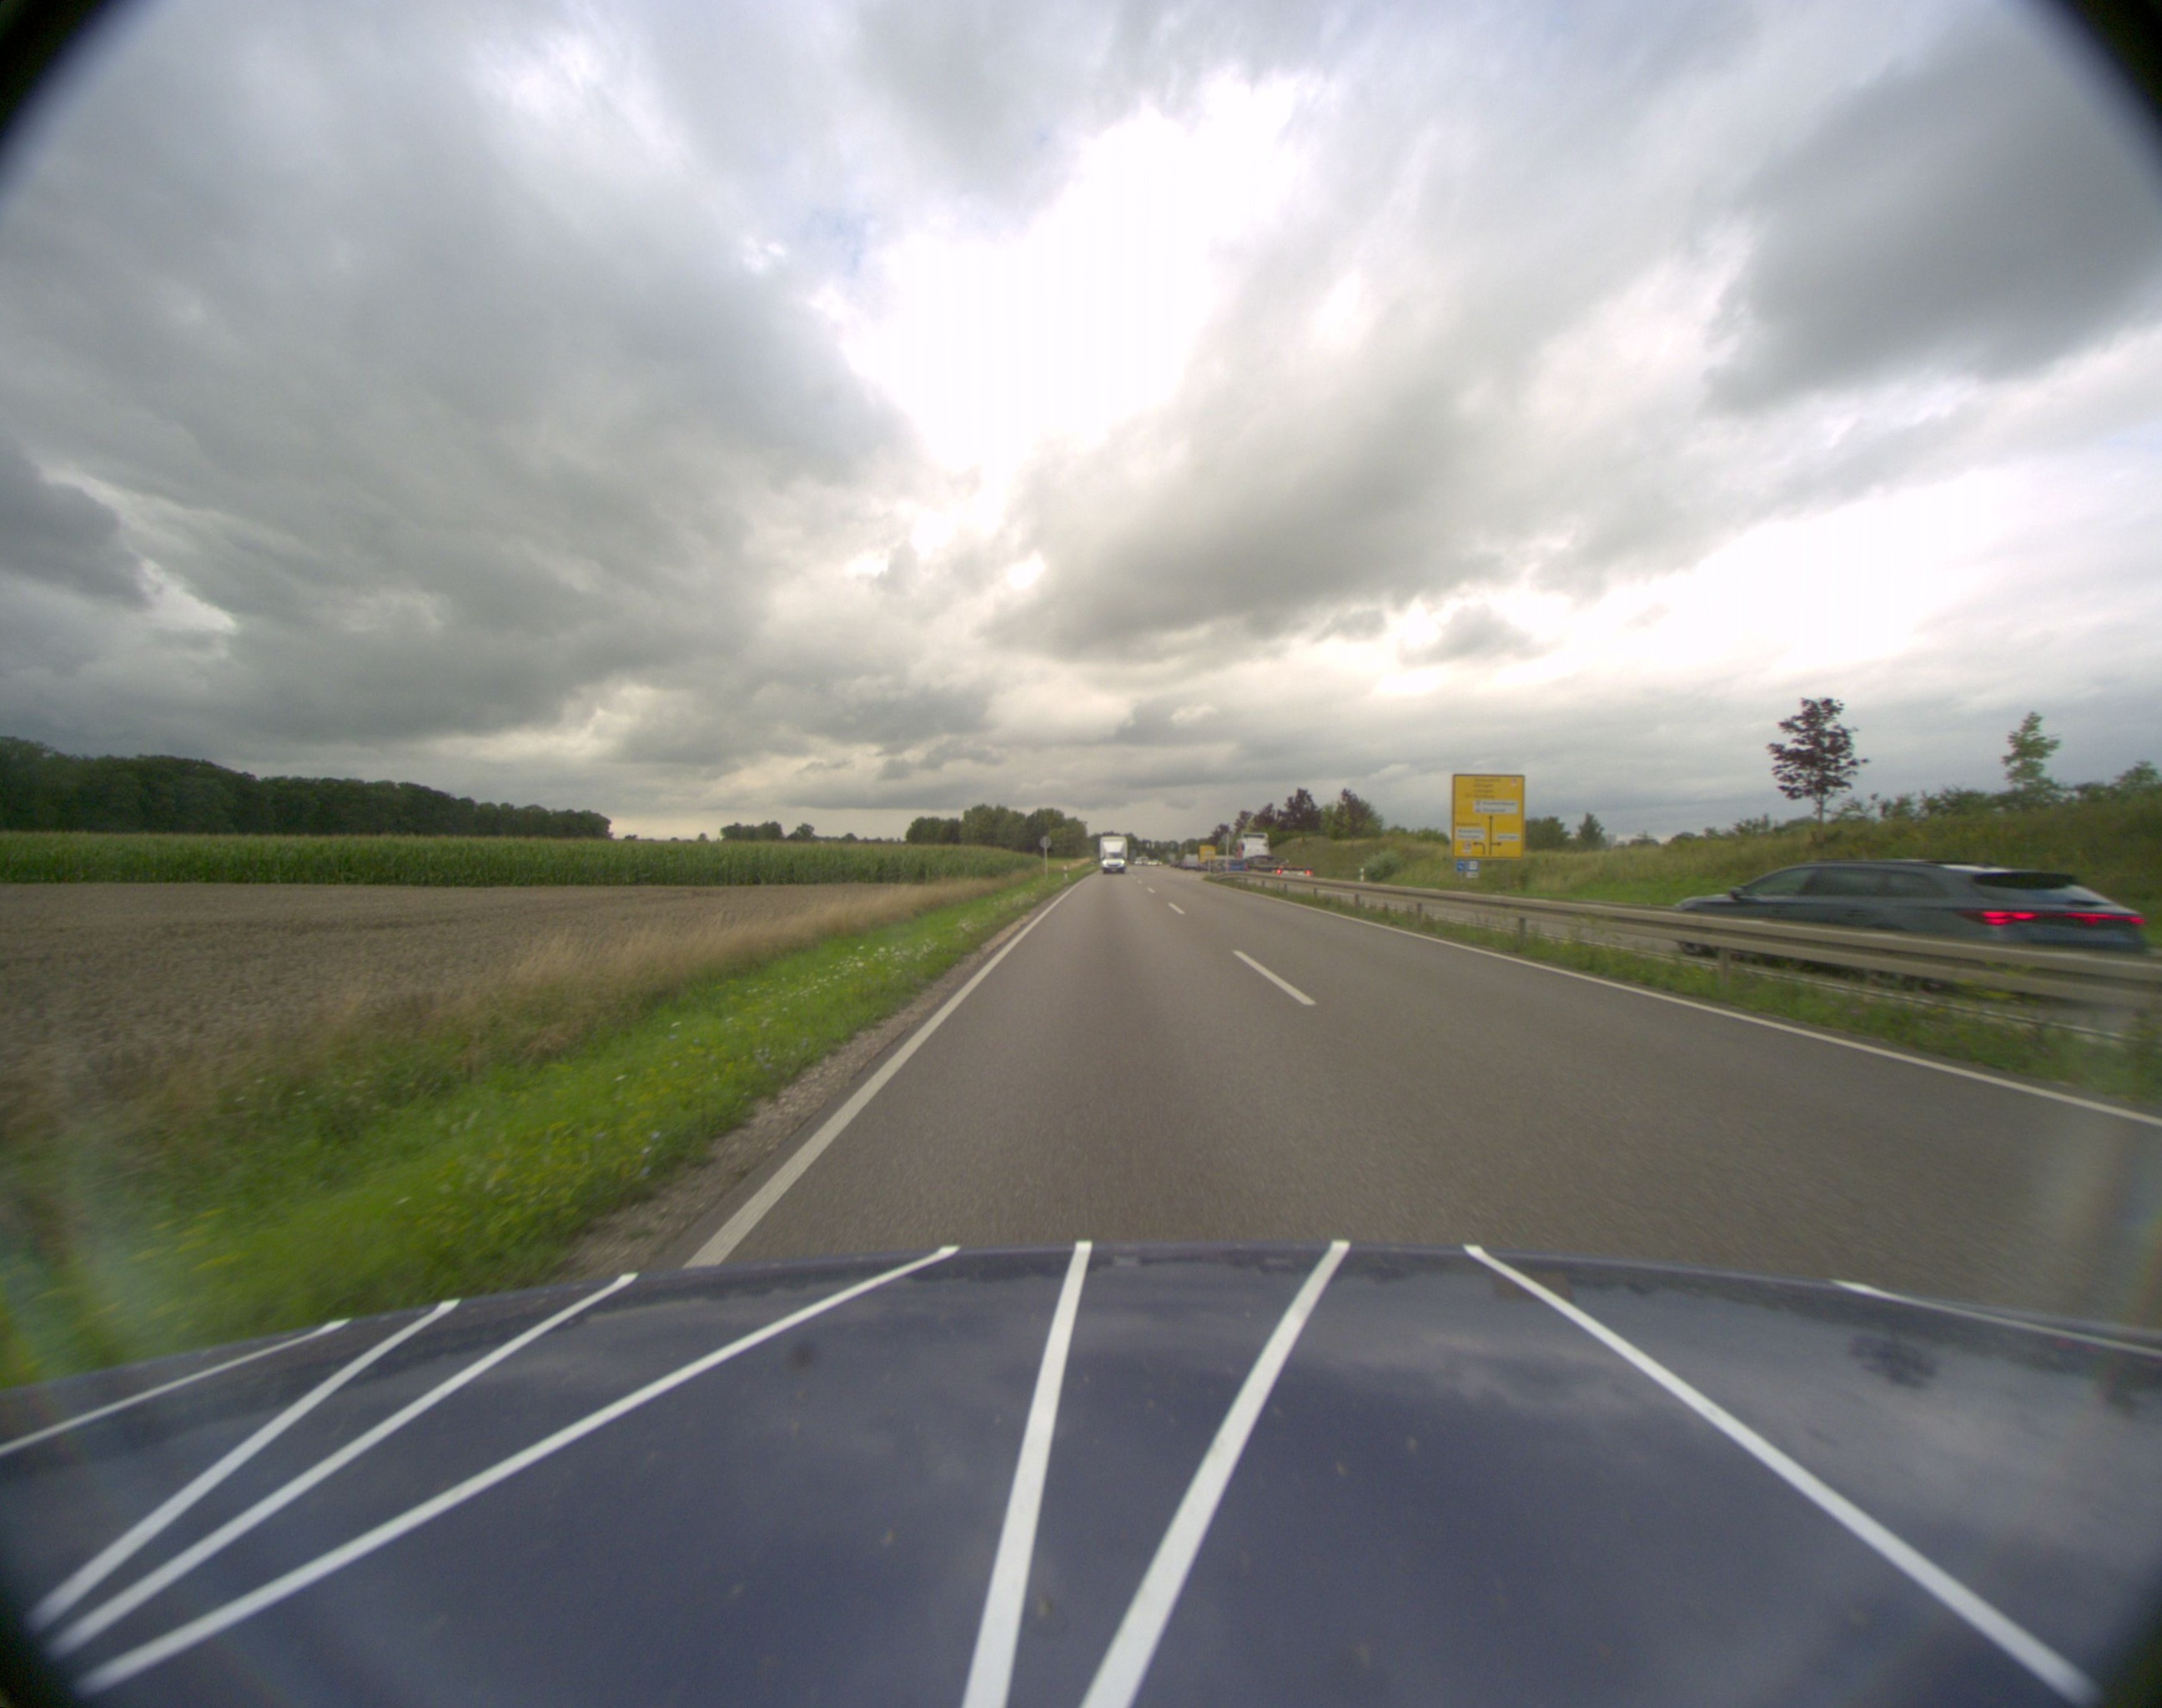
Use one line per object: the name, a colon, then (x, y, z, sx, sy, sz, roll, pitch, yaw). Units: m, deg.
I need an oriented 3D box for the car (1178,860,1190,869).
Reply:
car: (18.035, 1.753, 133.070, 1.736, 1.521, 4.194, 2, 0, 2)

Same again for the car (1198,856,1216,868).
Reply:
car: (16.897, 1.123, 102.294, 1.736, 1.521, 4.549, 2, 0, 2)

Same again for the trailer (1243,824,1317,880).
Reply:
trailer: (15.421, -0.065, 60.169, 2.782, 3.923, 12.987, 0, 0, 1)

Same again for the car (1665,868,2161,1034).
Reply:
car: (9.732, 0.941, 9.289, 1.758, 1.477, 4.577, 0, 0, 2)

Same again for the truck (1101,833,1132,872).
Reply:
truck: (3.499, -0.098, 75.828, 2.934, 3.652, 8.444, 0, 0, 2)

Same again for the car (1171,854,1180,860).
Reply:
car: (23.589, 0.770, 190.241, 1.798, 1.502, 4.707, 3, 0, 4)

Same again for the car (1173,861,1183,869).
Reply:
car: (20.834, 2.264, 162.736, 1.798, 1.624, 4.517, 3, 0, 4)

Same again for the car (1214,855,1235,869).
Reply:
car: (16.352, 0.947, 86.825, 1.736, 1.521, 4.194, 2, 0, 2)

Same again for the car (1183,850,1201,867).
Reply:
car: (17.273, 0.705, 118.585, 2.038, 2.425, 5.636, 2, 0, 2)

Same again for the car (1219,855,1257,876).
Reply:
car: (11.494, 0.838, 55.938, 2.090, 1.510, 4.194, 0, 0, 3)

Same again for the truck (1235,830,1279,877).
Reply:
truck: (15.621, -0.017, 67.641, 2.809, 3.973, 5.287, 0, 0, 2)

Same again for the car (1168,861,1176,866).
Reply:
car: (26.025, 2.789, 217.131, 1.798, 1.397, 4.707, 3, 0, 4)

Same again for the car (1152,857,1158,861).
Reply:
car: (23.683, 1.625, 244.193, 1.859, 1.274, 4.002, 2, 0, 6)
